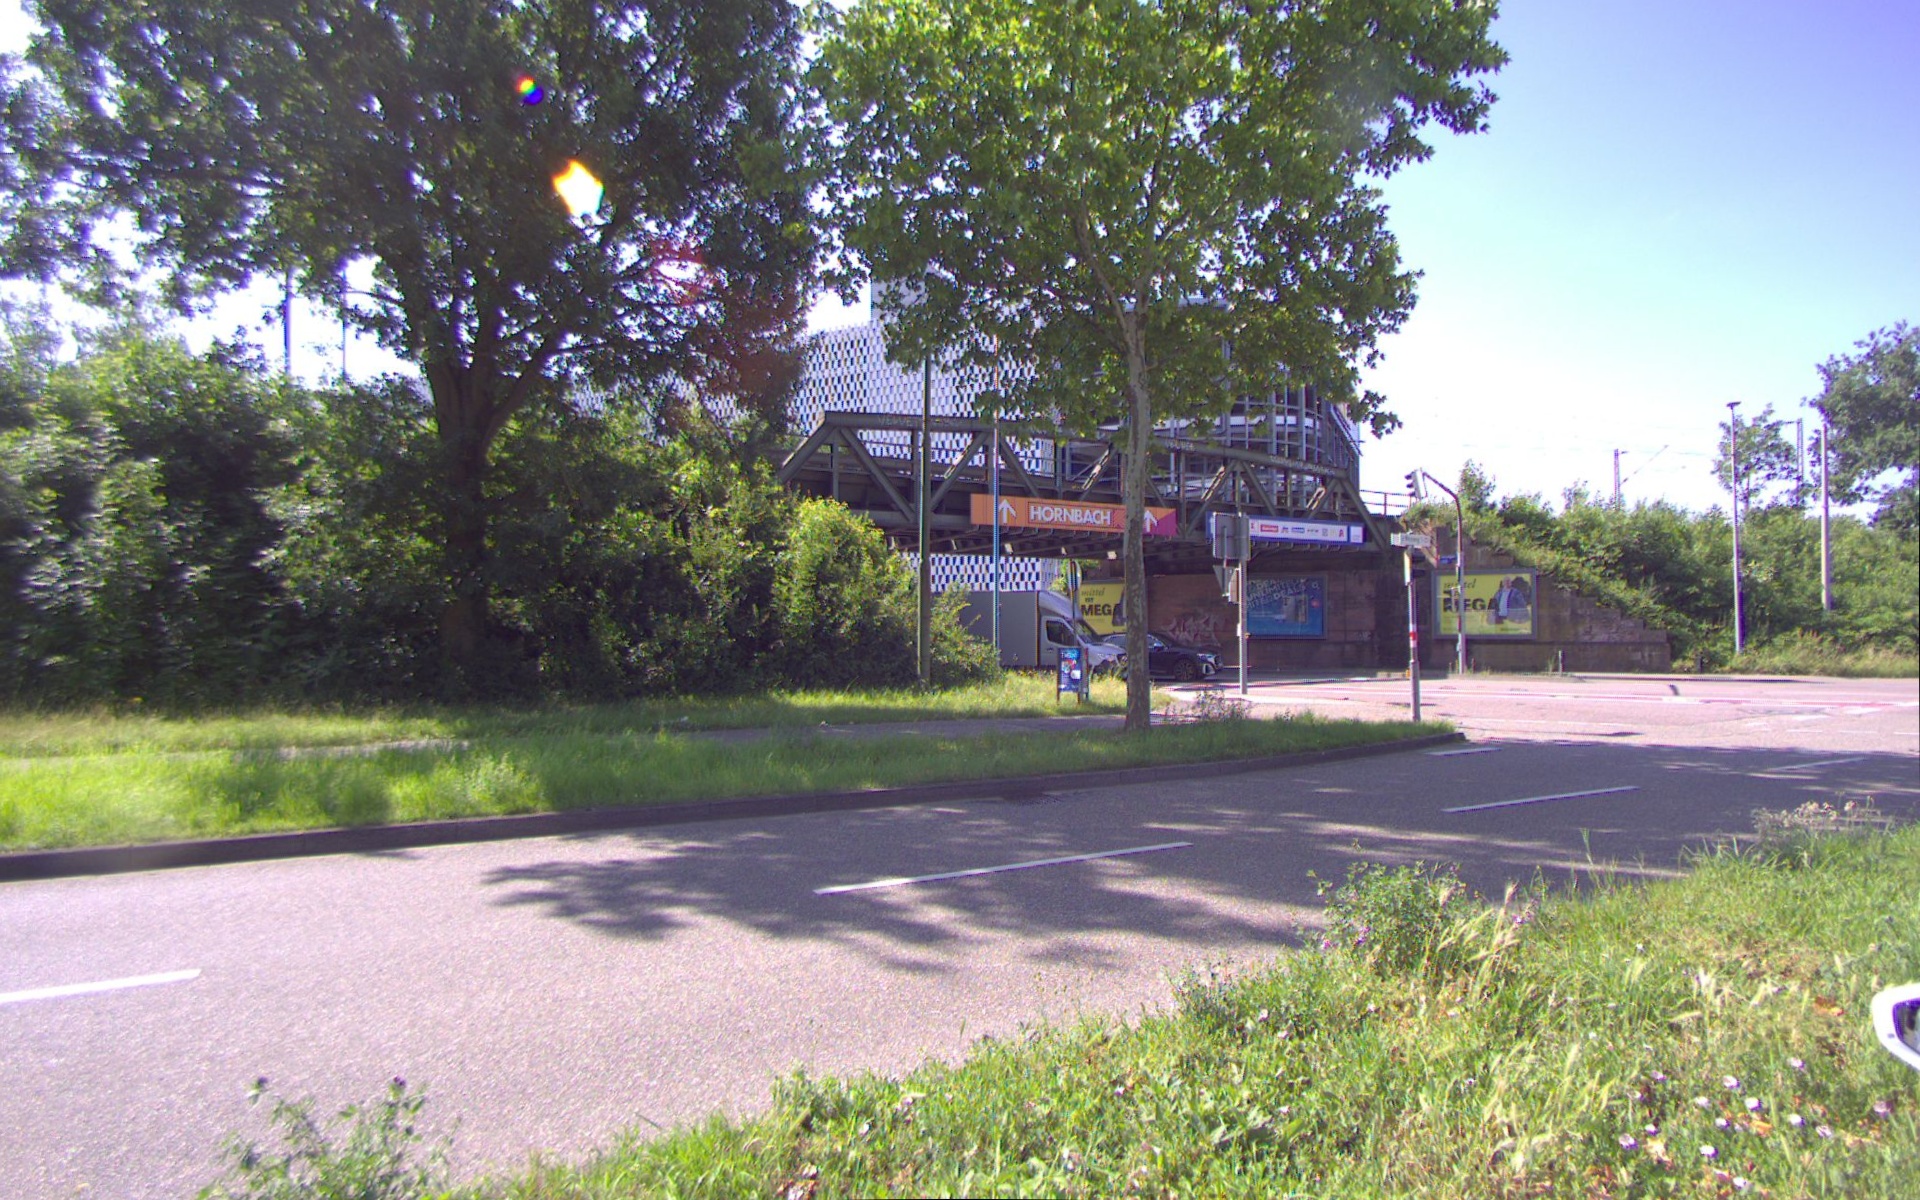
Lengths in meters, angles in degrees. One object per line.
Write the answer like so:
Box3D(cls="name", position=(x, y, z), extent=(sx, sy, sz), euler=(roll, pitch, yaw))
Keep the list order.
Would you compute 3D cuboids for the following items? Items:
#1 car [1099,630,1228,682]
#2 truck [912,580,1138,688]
Box3D(cls="car", position=(6.917, 1.895, 34.192), extent=(3.926, 1.668, 1.902), euler=(-2, -2, 27))
Box3D(cls="truck", position=(1.988, 1.119, 31.697), extent=(6.739, 3.146, 2.216), euler=(-2, -2, 27))
